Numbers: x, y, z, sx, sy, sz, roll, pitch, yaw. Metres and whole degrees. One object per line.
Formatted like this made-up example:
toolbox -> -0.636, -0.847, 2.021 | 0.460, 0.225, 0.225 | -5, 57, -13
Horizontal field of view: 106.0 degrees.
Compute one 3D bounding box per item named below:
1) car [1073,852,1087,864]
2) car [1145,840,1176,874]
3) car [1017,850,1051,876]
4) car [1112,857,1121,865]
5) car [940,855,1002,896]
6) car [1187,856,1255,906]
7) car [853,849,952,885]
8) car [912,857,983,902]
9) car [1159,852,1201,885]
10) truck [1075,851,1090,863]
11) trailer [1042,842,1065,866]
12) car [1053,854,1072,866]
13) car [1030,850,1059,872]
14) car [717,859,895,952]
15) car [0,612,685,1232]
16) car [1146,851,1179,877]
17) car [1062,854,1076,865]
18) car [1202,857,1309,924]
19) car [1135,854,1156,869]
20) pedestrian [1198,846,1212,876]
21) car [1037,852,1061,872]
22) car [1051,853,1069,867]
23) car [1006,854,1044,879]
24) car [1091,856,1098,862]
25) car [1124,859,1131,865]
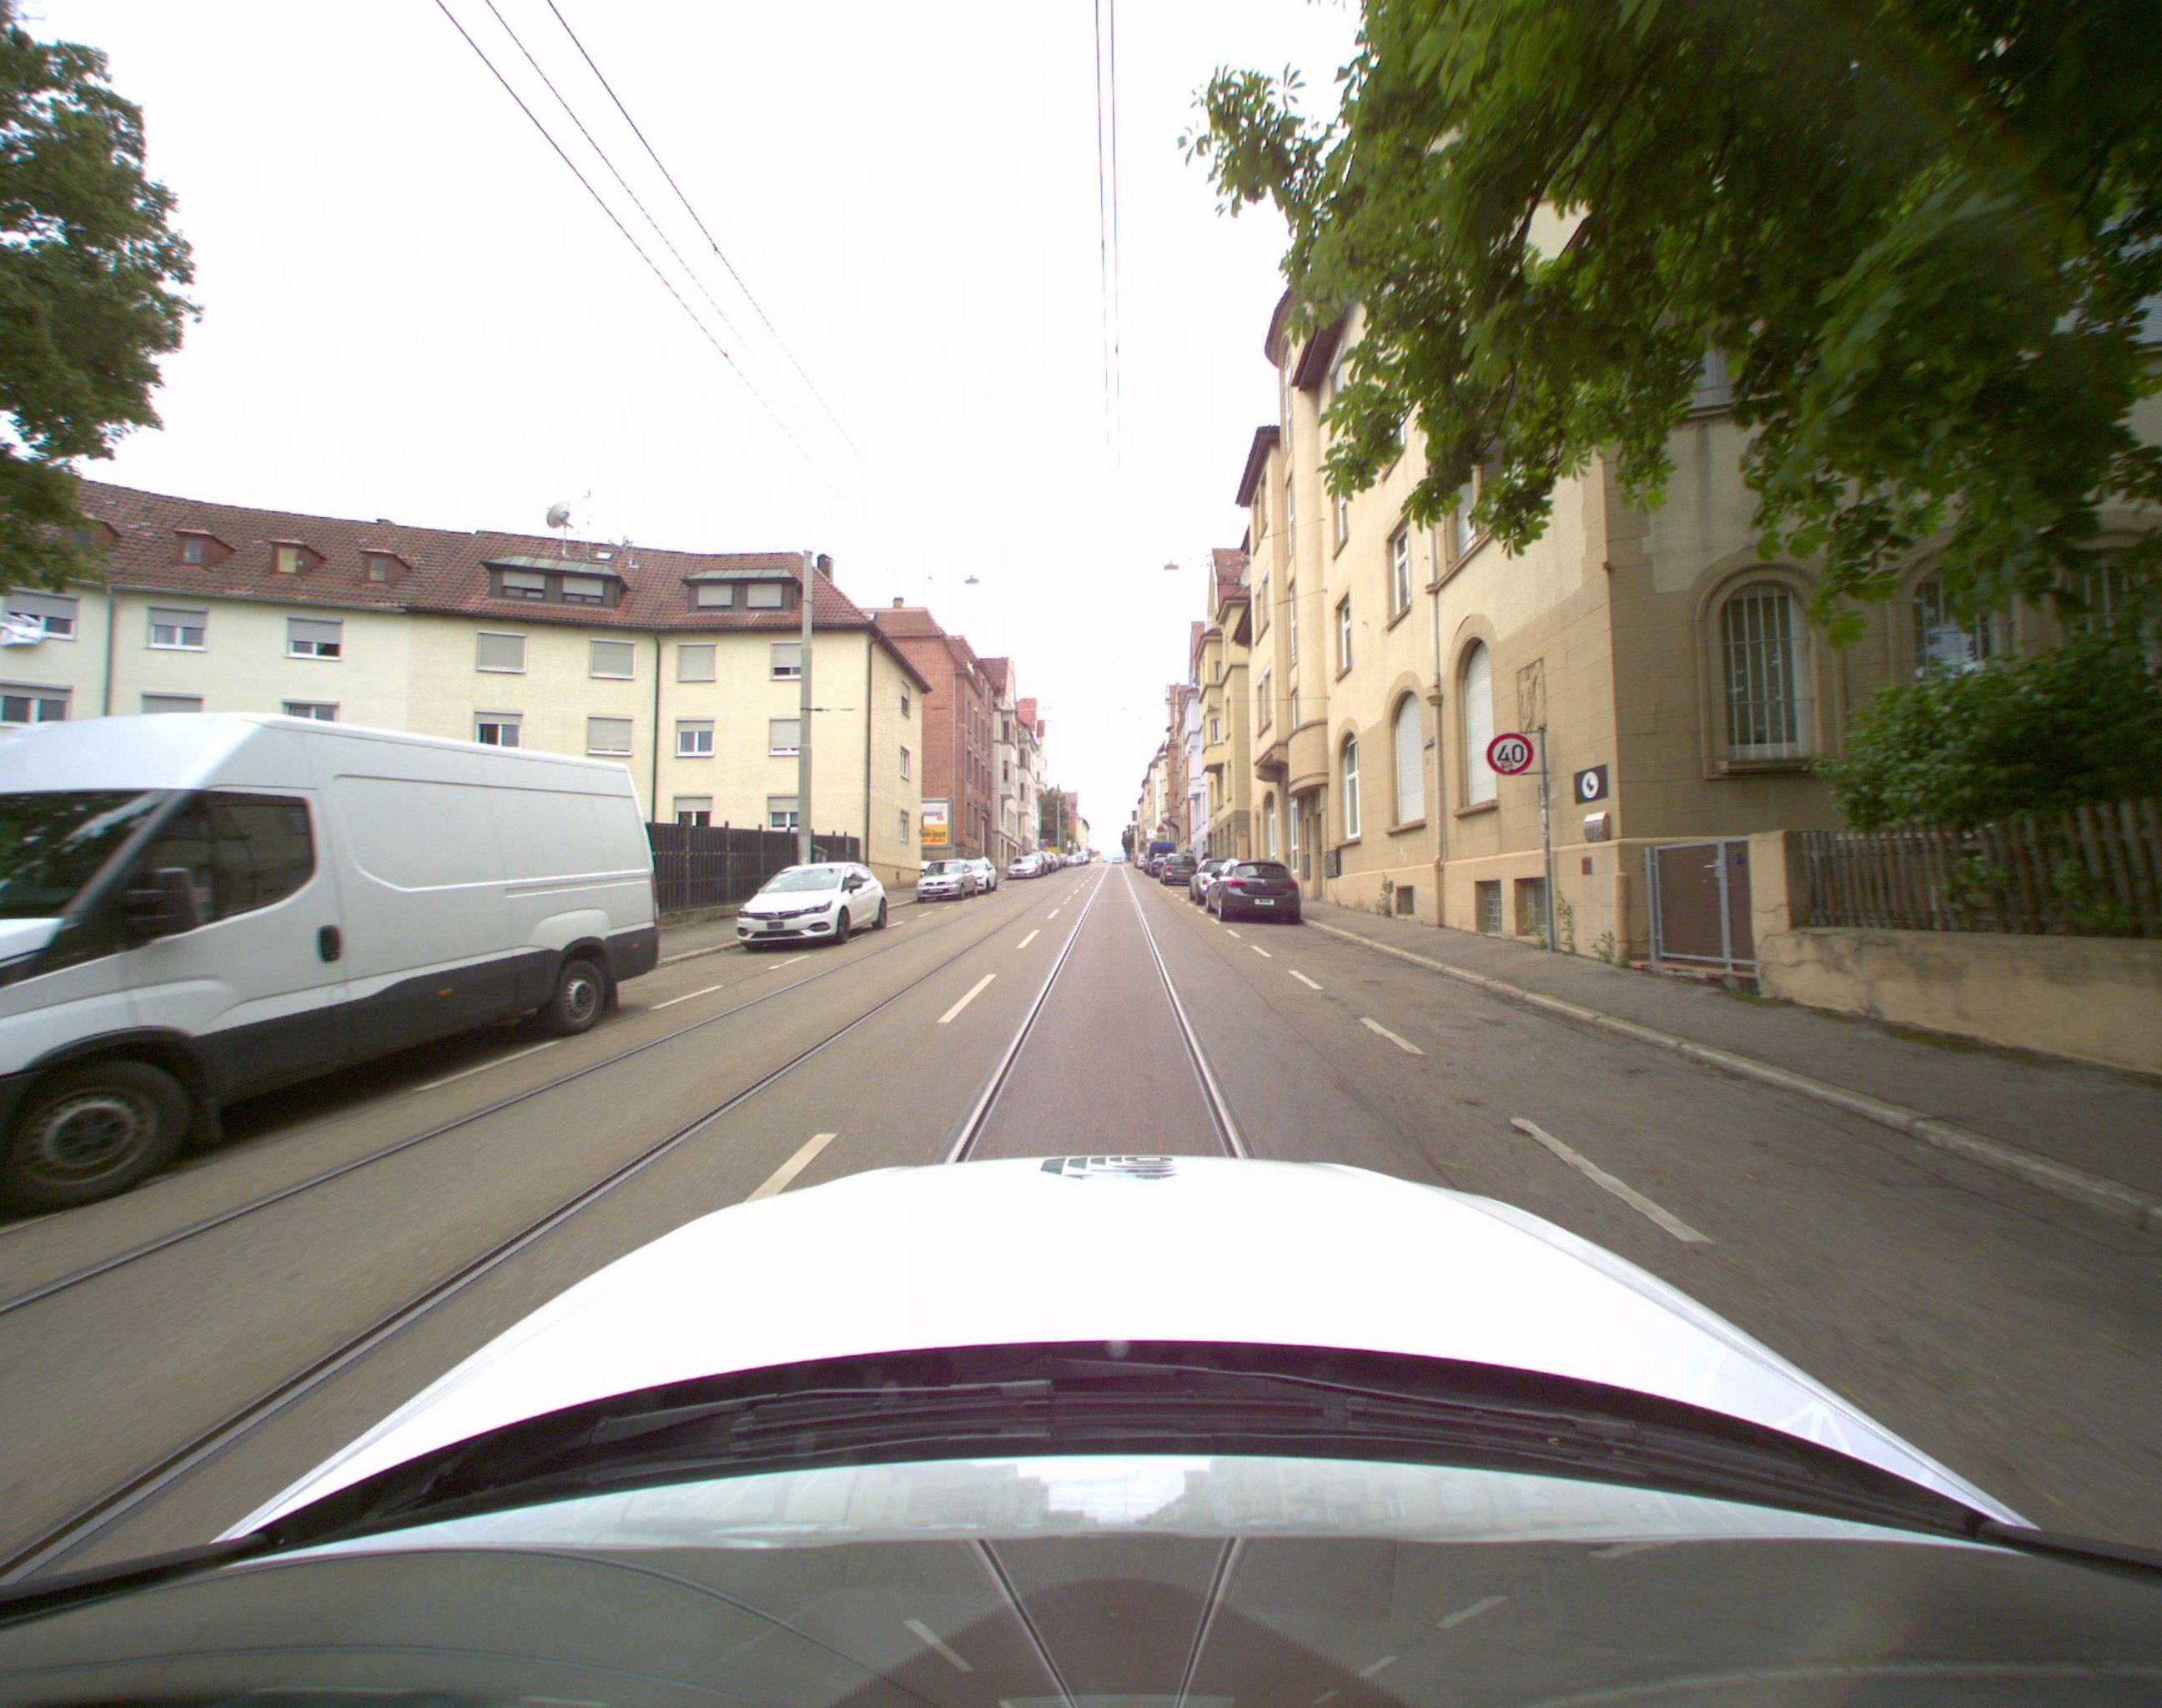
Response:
car -> -0.133, 0.593, 127.400 | 1.736, 1.736, 4.524 | -2, 0, 4
car -> 5.677, 0.225, 58.706 | 1.986, 2.376, 5.059 | 0, -1, 2
car -> -3.337, 0.617, 58.314 | 1.820, 1.718, 4.917 | -3, 0, 3
car -> 6.457, 1.274, 148.984 | 1.666, 1.513, 3.798 | 0, 0, 1
car -> -4.473, 0.823, 33.685 | 1.822, 1.429, 4.627 | -4, 0, 0
car -> 4.379, 0.793, 25.891 | 1.688, 1.404, 3.670 | 2, 0, 3
car -> -10.140, 0.714, 46.570 | 5.160, 1.818, 1.939 | -3, 0, -2
car -> -4.688, 0.848, 29.034 | 1.594, 1.368, 3.811 | -4, 0, 3
car -> 4.948, 0.699, 41.257 | 1.820, 1.519, 4.031 | 2, 0, 3
truck -> 0.347, 0.570, 152.348 | 2.270, 2.188, 8.032 | 0, 0, 4
trailer -> -2.563, -0.005, 76.849 | 1.741, 2.155, 4.074 | -3, 0, 3
car -> -2.067, 0.669, 93.676 | 1.772, 1.357, 4.296 | 0, 0, 4
car -> -2.929, 0.546, 66.765 | 1.866, 1.664, 4.895 | -3, 0, 3
car -> -5.022, 0.863, 15.571 | 1.712, 1.403, 4.316 | -3, 0, 2
car -> -5.587, 0.323, 5.926 | 2.151, 2.606, 6.220 | -3, 0, 1
car -> 5.313, 0.659, 53.339 | 1.773, 1.530, 4.194 | 3, 0, 2
car -> -1.696, 0.762, 116.256 | 1.689, 1.556, 3.854 | 0, 0, 4
car -> 4.084, 0.805, 19.723 | 1.832, 1.403, 4.169 | 1, -1, 2
car -> 6.358, 0.732, 80.519 | 1.744, 1.390, 4.308 | 2, 0, 1
pedestrian -> 7.180, 0.411, 46.995 | 0.540, 1.682, 0.515 | -4, -3, -6
car -> -2.795, 0.686, 72.670 | 1.690, 1.593, 4.271 | -3, 0, 3
car -> -2.269, 0.654, 88.577 | 1.690, 1.468, 3.025 | -3, 0, 3
car -> -3.594, 0.759, 52.751 | 1.820, 1.429, 4.843 | -3, 0, 3
car -> 3.736, 1.308, 220.607 | 1.847, 1.607, 4.299 | 0, 0, 2
car -> 13.524, 2.316, 238.412 | 1.985, 1.563, 4.293 | 0, 0, 3
